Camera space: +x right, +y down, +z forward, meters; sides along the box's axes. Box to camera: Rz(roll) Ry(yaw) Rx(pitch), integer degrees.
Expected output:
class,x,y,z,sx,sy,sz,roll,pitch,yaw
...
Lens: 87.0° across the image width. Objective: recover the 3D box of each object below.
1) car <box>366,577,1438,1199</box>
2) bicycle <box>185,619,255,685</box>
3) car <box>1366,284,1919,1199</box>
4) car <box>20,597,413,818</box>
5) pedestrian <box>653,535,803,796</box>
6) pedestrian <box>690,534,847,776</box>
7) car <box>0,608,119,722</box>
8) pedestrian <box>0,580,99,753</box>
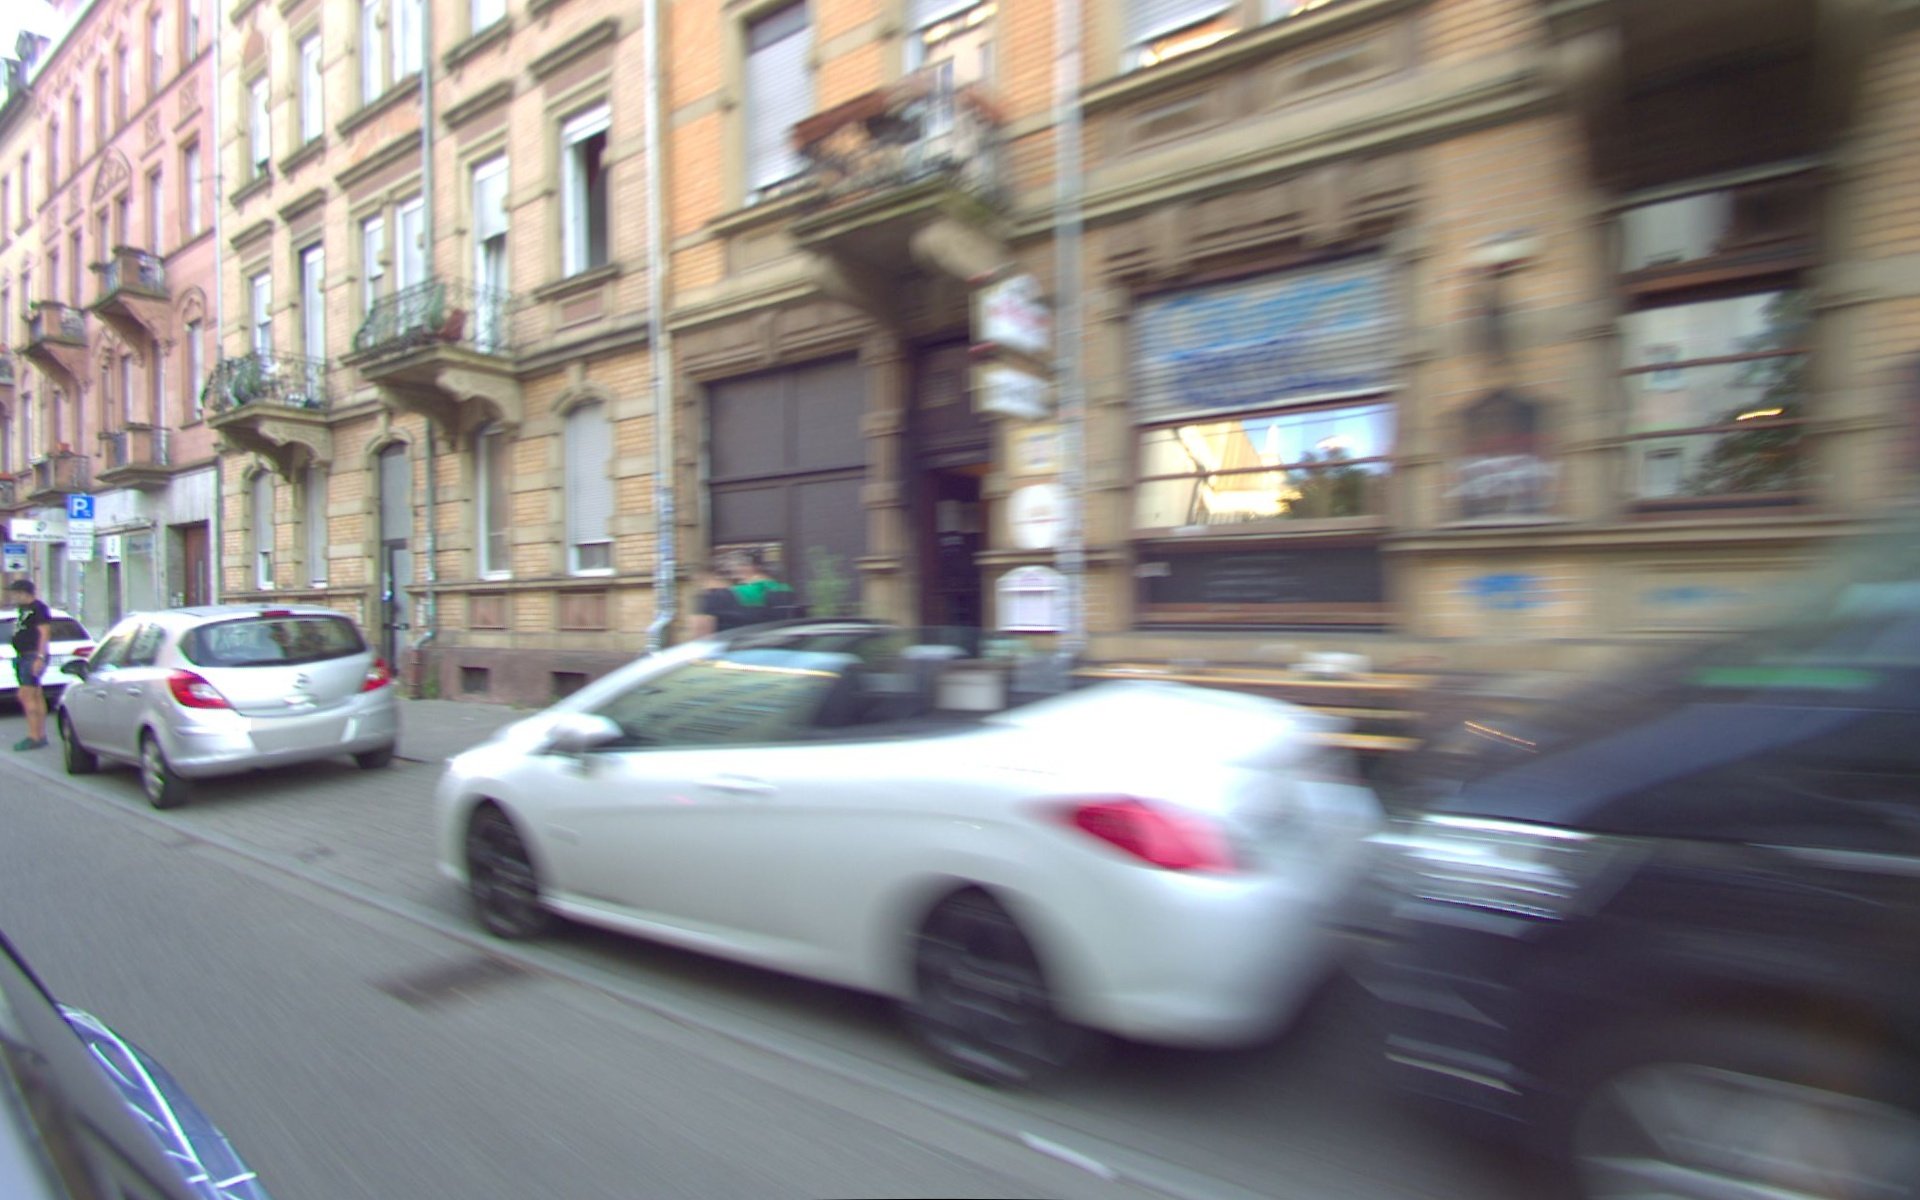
class,x,y,z,sx,sy,sz,roll,pitch,yaw
car,-0.530,0.703,4.387,4.474,1.433,1.769,-1,2,35
bicycle,-13.424,0.925,18.351,1.727,1.140,0.511,-1,0,36
car,3.487,0.375,1.636,4.938,1.938,1.977,-1,2,34
car,-6.624,0.778,8.874,3.994,1.468,1.701,-1,1,38
pedestrian,-1.681,0.446,7.356,0.775,1.785,0.601,-2,2,32
pedestrian,-1.503,0.405,7.956,0.994,1.785,0.575,-2,2,32
car,-13.945,0.897,14.595,4.500,1.422,1.742,-2,0,36
pedestrian,-9.829,0.681,10.671,1.008,1.768,0.556,0,1,1
